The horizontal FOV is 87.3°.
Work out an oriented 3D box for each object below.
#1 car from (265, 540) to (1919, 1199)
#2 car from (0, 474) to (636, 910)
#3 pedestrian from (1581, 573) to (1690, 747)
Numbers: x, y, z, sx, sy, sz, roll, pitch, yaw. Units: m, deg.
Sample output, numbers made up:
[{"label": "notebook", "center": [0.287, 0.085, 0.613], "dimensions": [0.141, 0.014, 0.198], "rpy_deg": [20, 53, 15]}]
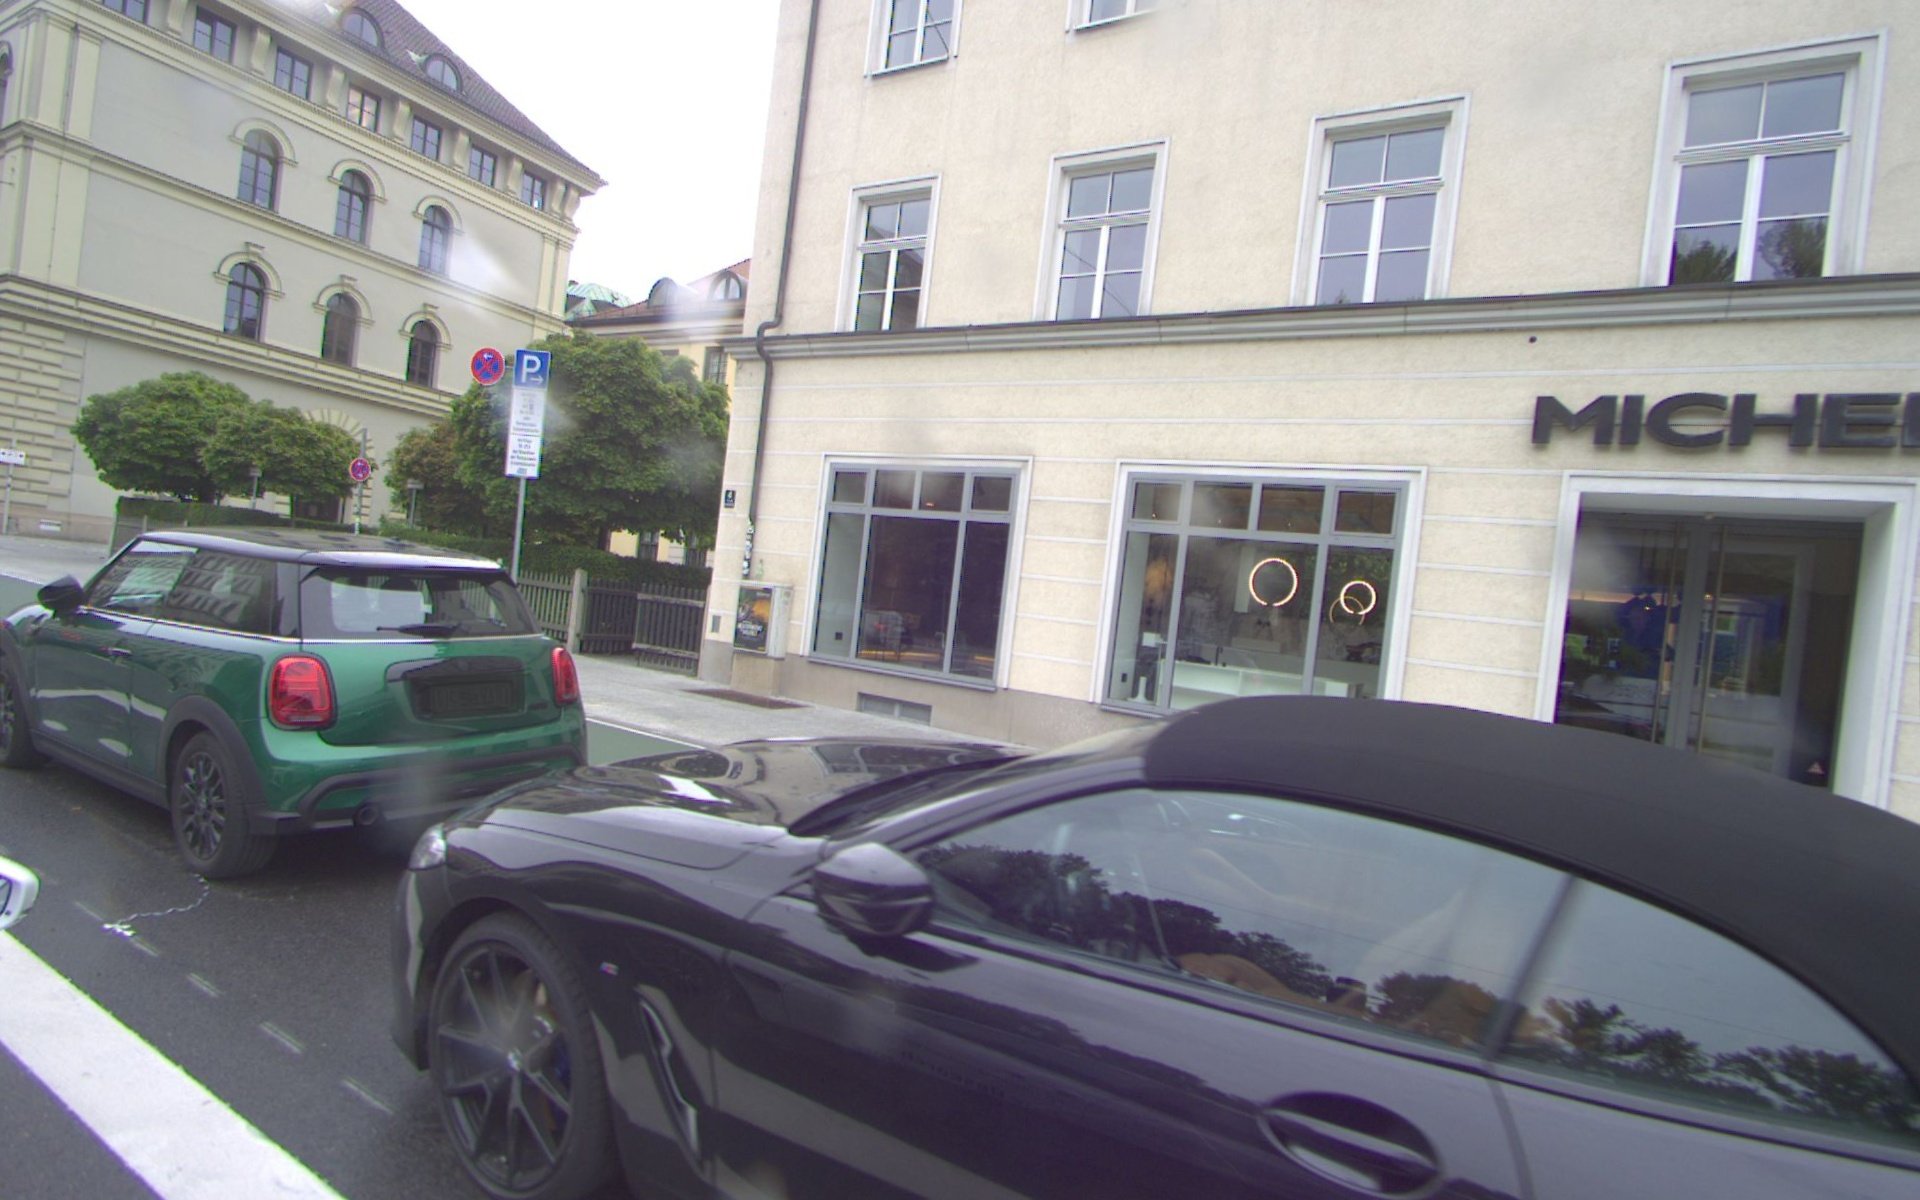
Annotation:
[{"label": "car", "center": [0.573, 0.859, 2.306], "dimensions": [4.642, 1.424, 1.829], "rpy_deg": [7, -1, 33]}, {"label": "car", "center": [-3.777, 0.290, 5.504], "dimensions": [3.767, 1.539, 1.678], "rpy_deg": [7, -1, 33]}, {"label": "pedestrian", "center": [7.230, 0.633, 10.805], "dimensions": [0.768, 1.710, 0.859], "rpy_deg": [7, 1, 33]}]
